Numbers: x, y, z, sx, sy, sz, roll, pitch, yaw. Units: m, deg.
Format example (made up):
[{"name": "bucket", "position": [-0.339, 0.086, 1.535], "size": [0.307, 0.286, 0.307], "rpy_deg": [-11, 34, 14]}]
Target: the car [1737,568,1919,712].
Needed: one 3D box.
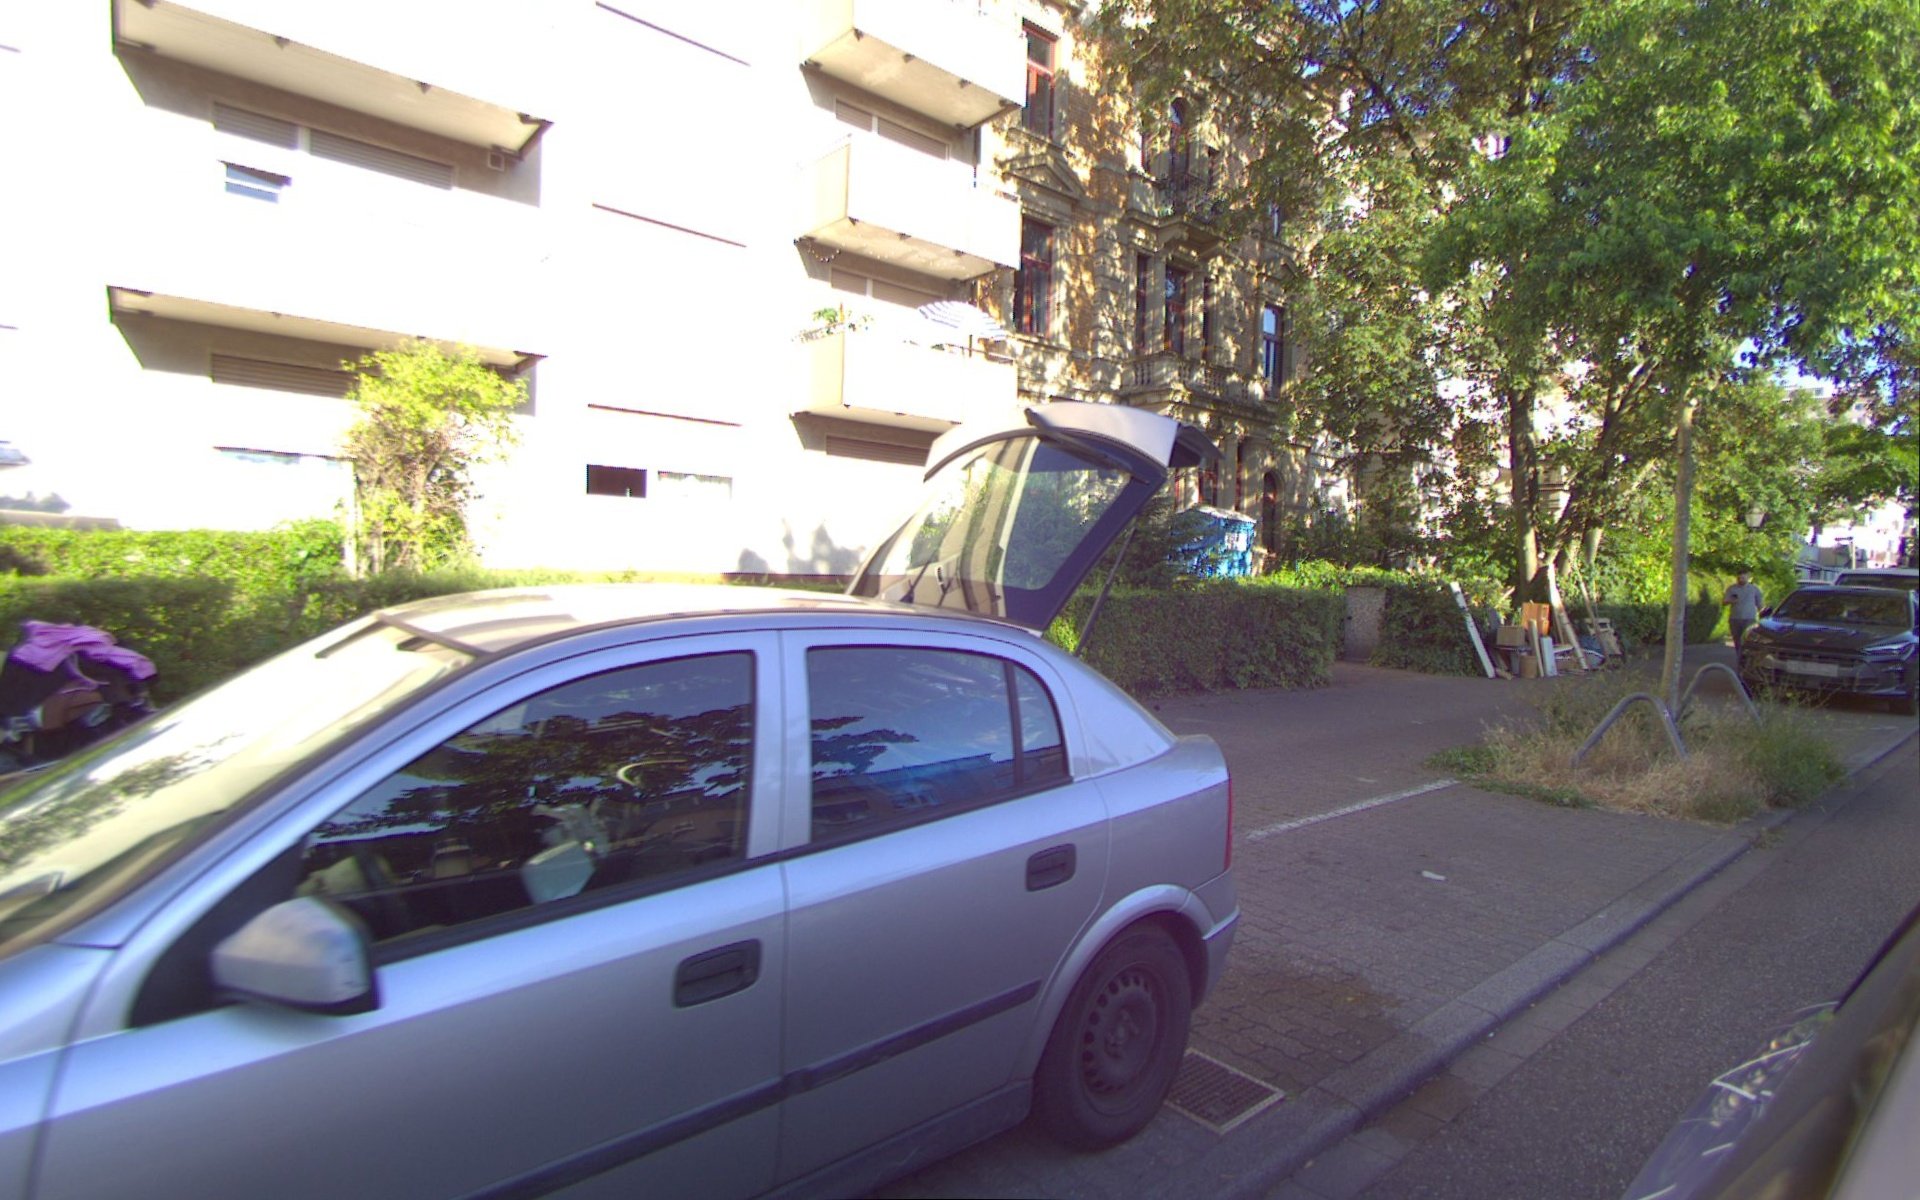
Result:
[{"name": "car", "position": [12.538, 0.452, 14.074], "size": [4.236, 1.623, 1.860], "rpy_deg": [0, 5, -41]}]

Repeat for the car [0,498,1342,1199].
[{"name": "car", "position": [-0.988, 0.569, 2.398], "size": [4.194, 1.498, 1.712], "rpy_deg": [0, 4, -41]}]

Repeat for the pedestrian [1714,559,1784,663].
[{"name": "pedestrian", "position": [14.183, 0.184, 18.194], "size": [1.071, 1.796, 0.821], "rpy_deg": [0, 2, -45]}]

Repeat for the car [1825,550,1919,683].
[{"name": "car", "position": [16.919, 0.246, 17.874], "size": [4.562, 2.129, 1.906], "rpy_deg": [0, 2, -43]}]
